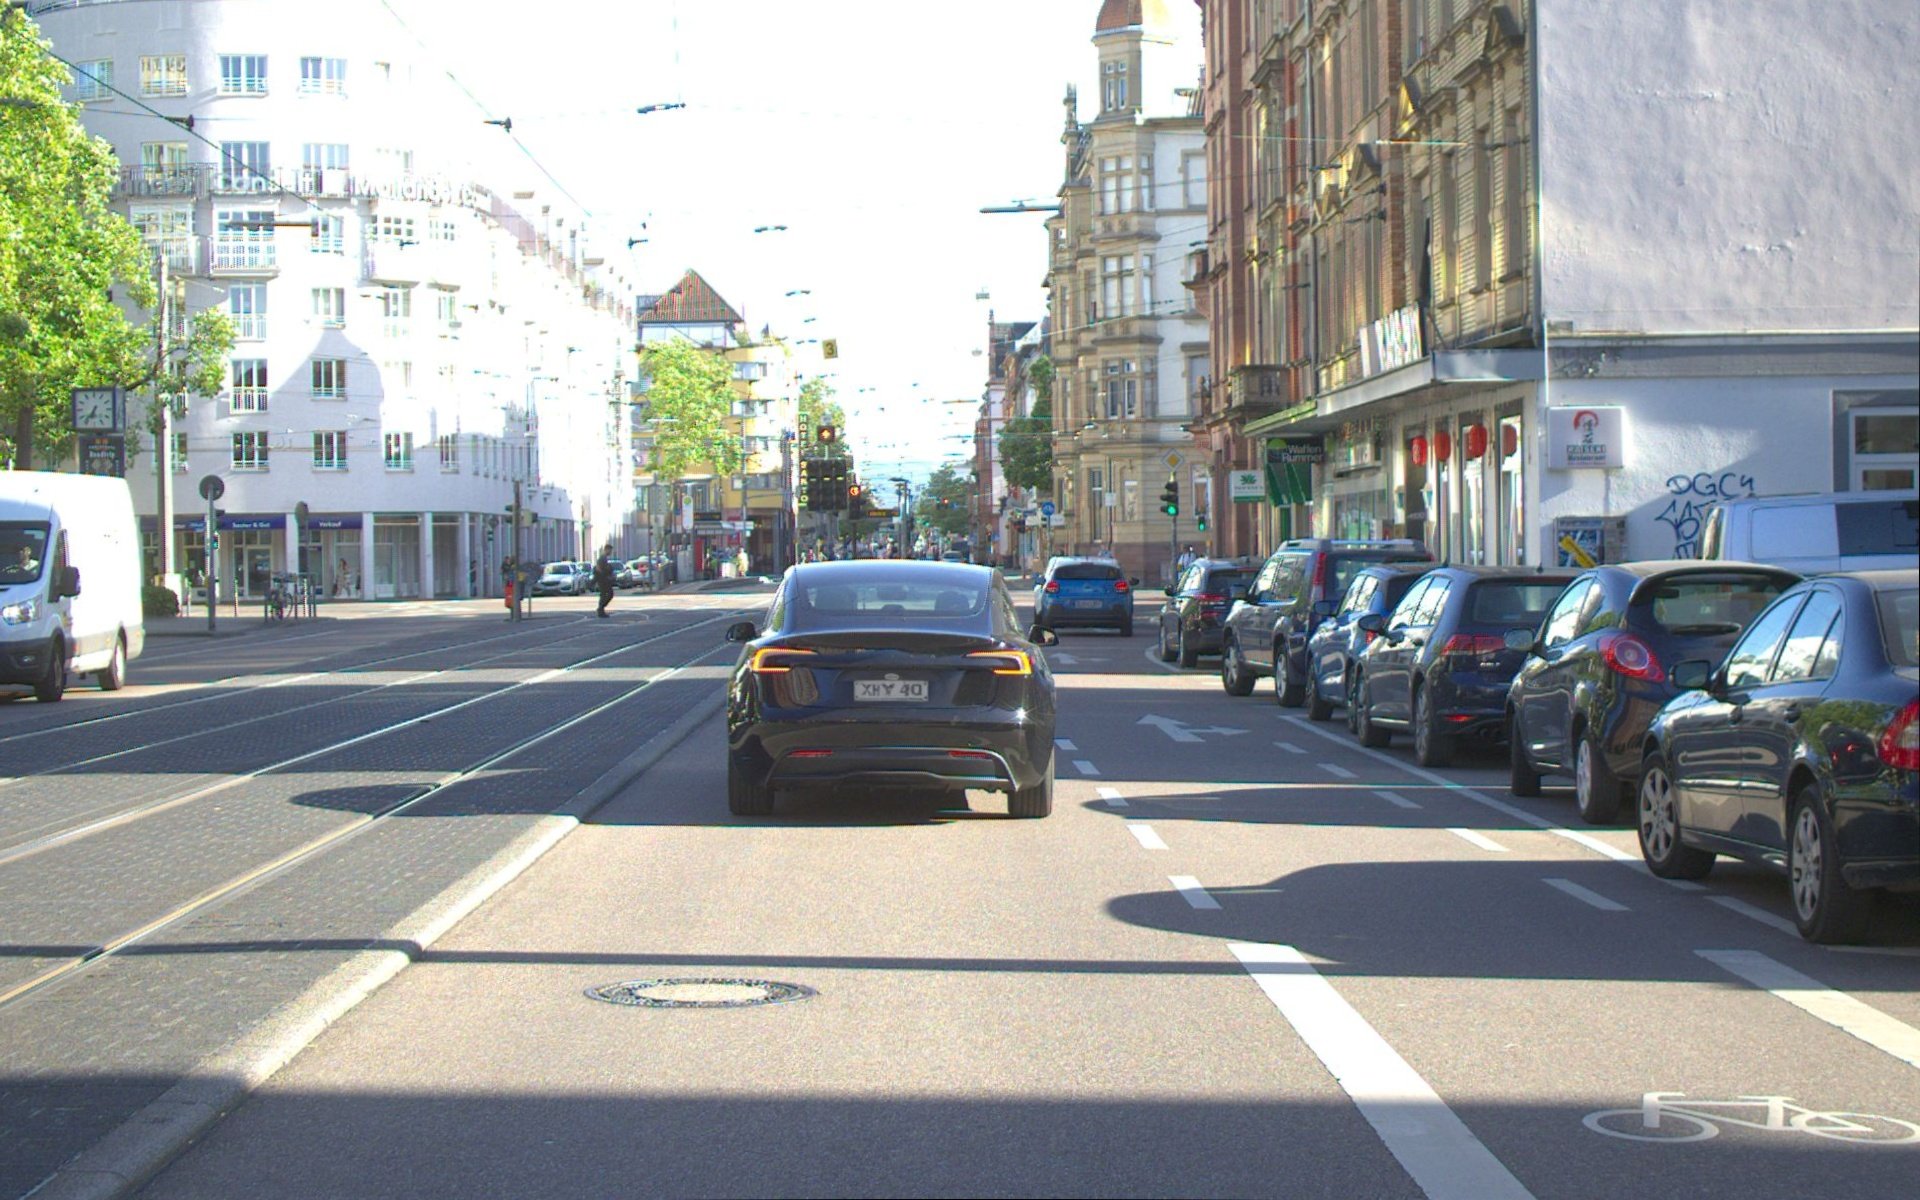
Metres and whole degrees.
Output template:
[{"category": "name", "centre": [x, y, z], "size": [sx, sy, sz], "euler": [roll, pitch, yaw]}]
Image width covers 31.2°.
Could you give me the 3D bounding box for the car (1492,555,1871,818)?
[{"category": "car", "centre": [4.224, 0.472, 20.556], "size": [1.578, 1.442, 3.309], "euler": [0, 0, 0]}]

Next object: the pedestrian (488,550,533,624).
[{"category": "pedestrian", "centre": [-10.510, -0.309, 80.395], "size": [0.845, 1.689, 0.796], "euler": [1, 1, 7]}]

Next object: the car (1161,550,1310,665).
[{"category": "car", "centre": [3.720, 0.069, 46.971], "size": [1.715, 1.467, 3.719], "euler": [-1, 1, 0]}]

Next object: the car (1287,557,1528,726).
[{"category": "car", "centre": [3.993, 0.345, 31.213], "size": [1.578, 1.439, 3.914], "euler": [0, 0, -2]}]

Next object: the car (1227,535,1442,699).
[{"category": "car", "centre": [3.883, 0.164, 36.243], "size": [1.829, 1.622, 4.095], "euler": [0, 0, 0]}]

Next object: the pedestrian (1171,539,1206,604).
[{"category": "pedestrian", "centre": [5.731, -0.716, 86.204], "size": [0.748, 1.611, 0.706], "euler": [-1, 1, -3]}]

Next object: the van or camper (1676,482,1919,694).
[{"category": "van or camper", "centre": [10.369, -0.211, 37.541], "size": [4.644, 2.129, 1.987], "euler": [-3, 1, 3]}]

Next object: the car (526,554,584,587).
[{"category": "car", "centre": [-17.283, -1.277, 146.801], "size": [1.993, 1.363, 4.000], "euler": [-1, 1, -1]}]

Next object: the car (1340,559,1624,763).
[{"category": "car", "centre": [3.861, 0.419, 25.941], "size": [1.461, 1.427, 3.814], "euler": [0, 0, -2]}]

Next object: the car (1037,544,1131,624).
[{"category": "car", "centre": [2.319, -0.318, 64.845], "size": [1.593, 1.428, 3.686], "euler": [-2, 1, 0]}]

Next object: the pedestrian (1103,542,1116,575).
[{"category": "pedestrian", "centre": [5.613, -1.571, 129.387], "size": [0.441, 1.217, 0.389], "euler": [-1, 1, -1]}]

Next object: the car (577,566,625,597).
[{"category": "car", "centre": [-17.934, -0.948, 171.946], "size": [1.993, 1.490, 4.000], "euler": [-1, 1, -1]}]

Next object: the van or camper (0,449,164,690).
[{"category": "van or camper", "centre": [-11.273, -0.362, 41.208], "size": [2.139, 2.645, 6.881], "euler": [-1, 1, -3]}]

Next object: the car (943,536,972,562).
[{"category": "car", "centre": [-0.161, -3.251, 219.830], "size": [1.846, 1.587, 4.000], "euler": [-2, 1, 0]}]

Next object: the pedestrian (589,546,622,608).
[{"category": "pedestrian", "centre": [-8.582, -0.559, 83.263], "size": [0.702, 1.496, 0.795], "euler": [0, 1, 0]}]

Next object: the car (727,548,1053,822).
[{"category": "car", "centre": [-0.431, 0.425, 20.060], "size": [1.719, 1.400, 3.710], "euler": [0, 1, -2]}]

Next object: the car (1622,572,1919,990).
[{"category": "car", "centre": [4.113, 0.624, 14.424], "size": [1.710, 1.452, 4.551], "euler": [0, 1, -1]}]

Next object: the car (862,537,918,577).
[{"category": "car", "centre": [-2.829, -1.719, 138.609], "size": [1.993, 1.520, 4.001], "euler": [1, 0, -5]}]
